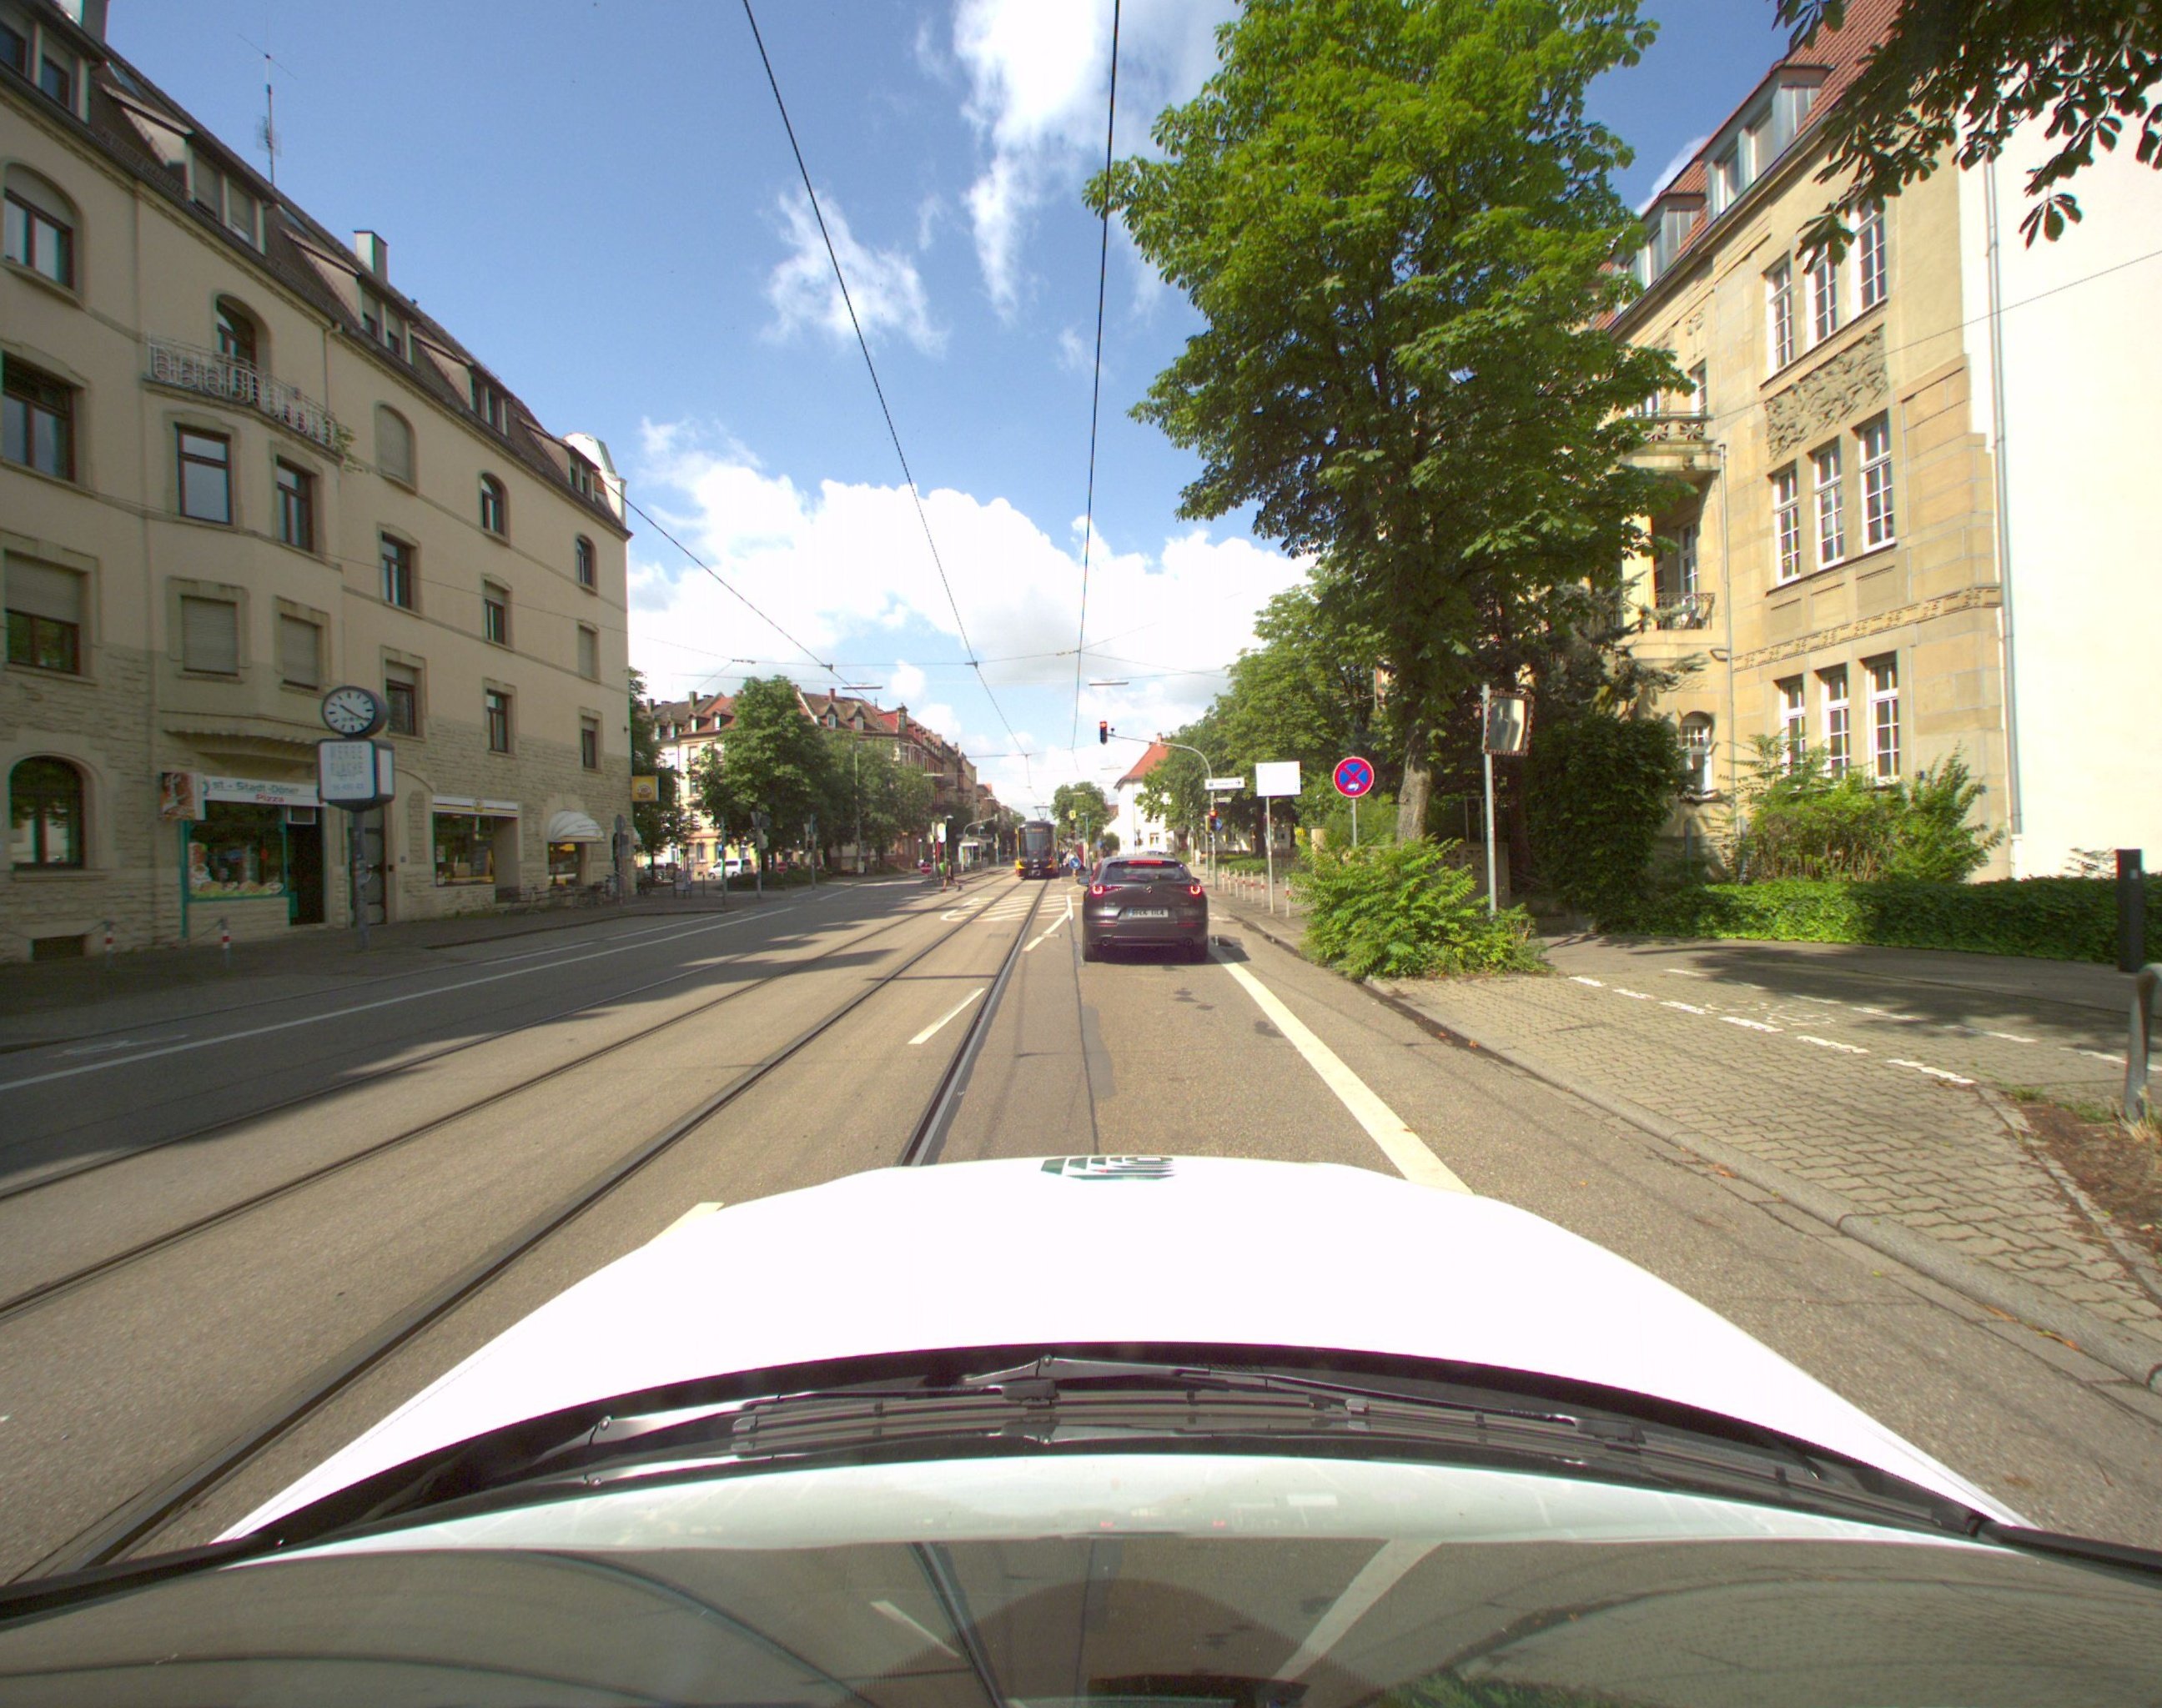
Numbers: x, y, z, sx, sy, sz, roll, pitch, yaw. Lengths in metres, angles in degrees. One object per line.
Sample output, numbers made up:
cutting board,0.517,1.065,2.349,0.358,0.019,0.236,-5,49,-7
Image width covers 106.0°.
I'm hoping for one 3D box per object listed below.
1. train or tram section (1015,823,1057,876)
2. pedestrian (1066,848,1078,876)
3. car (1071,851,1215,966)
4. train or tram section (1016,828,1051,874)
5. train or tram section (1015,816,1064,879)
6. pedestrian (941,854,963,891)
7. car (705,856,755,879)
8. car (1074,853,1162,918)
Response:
train or tram section,-3.385,-0.268,59.510,2.647,3.527,8.482,-3,0,-5
pedestrian,-0.538,0.463,48.380,0.666,1.605,0.699,-2,0,-3
car,0.813,0.721,13.121,1.785,1.512,4.346,-1,0,-3
train or tram section,-4.042,-0.204,67.982,2.647,3.527,8.482,-3,0,-5
train or tram section,-2.721,-0.332,51.028,2.647,3.527,8.482,-3,0,-5
pedestrian,-5.648,0.797,35.638,0.873,1.605,0.630,-2,0,-5
car,-36.059,1.396,83.781,4.097,2.013,2.005,-5,0,8
car,0.870,0.745,22.008,1.781,1.492,4.876,-2,0,-4
